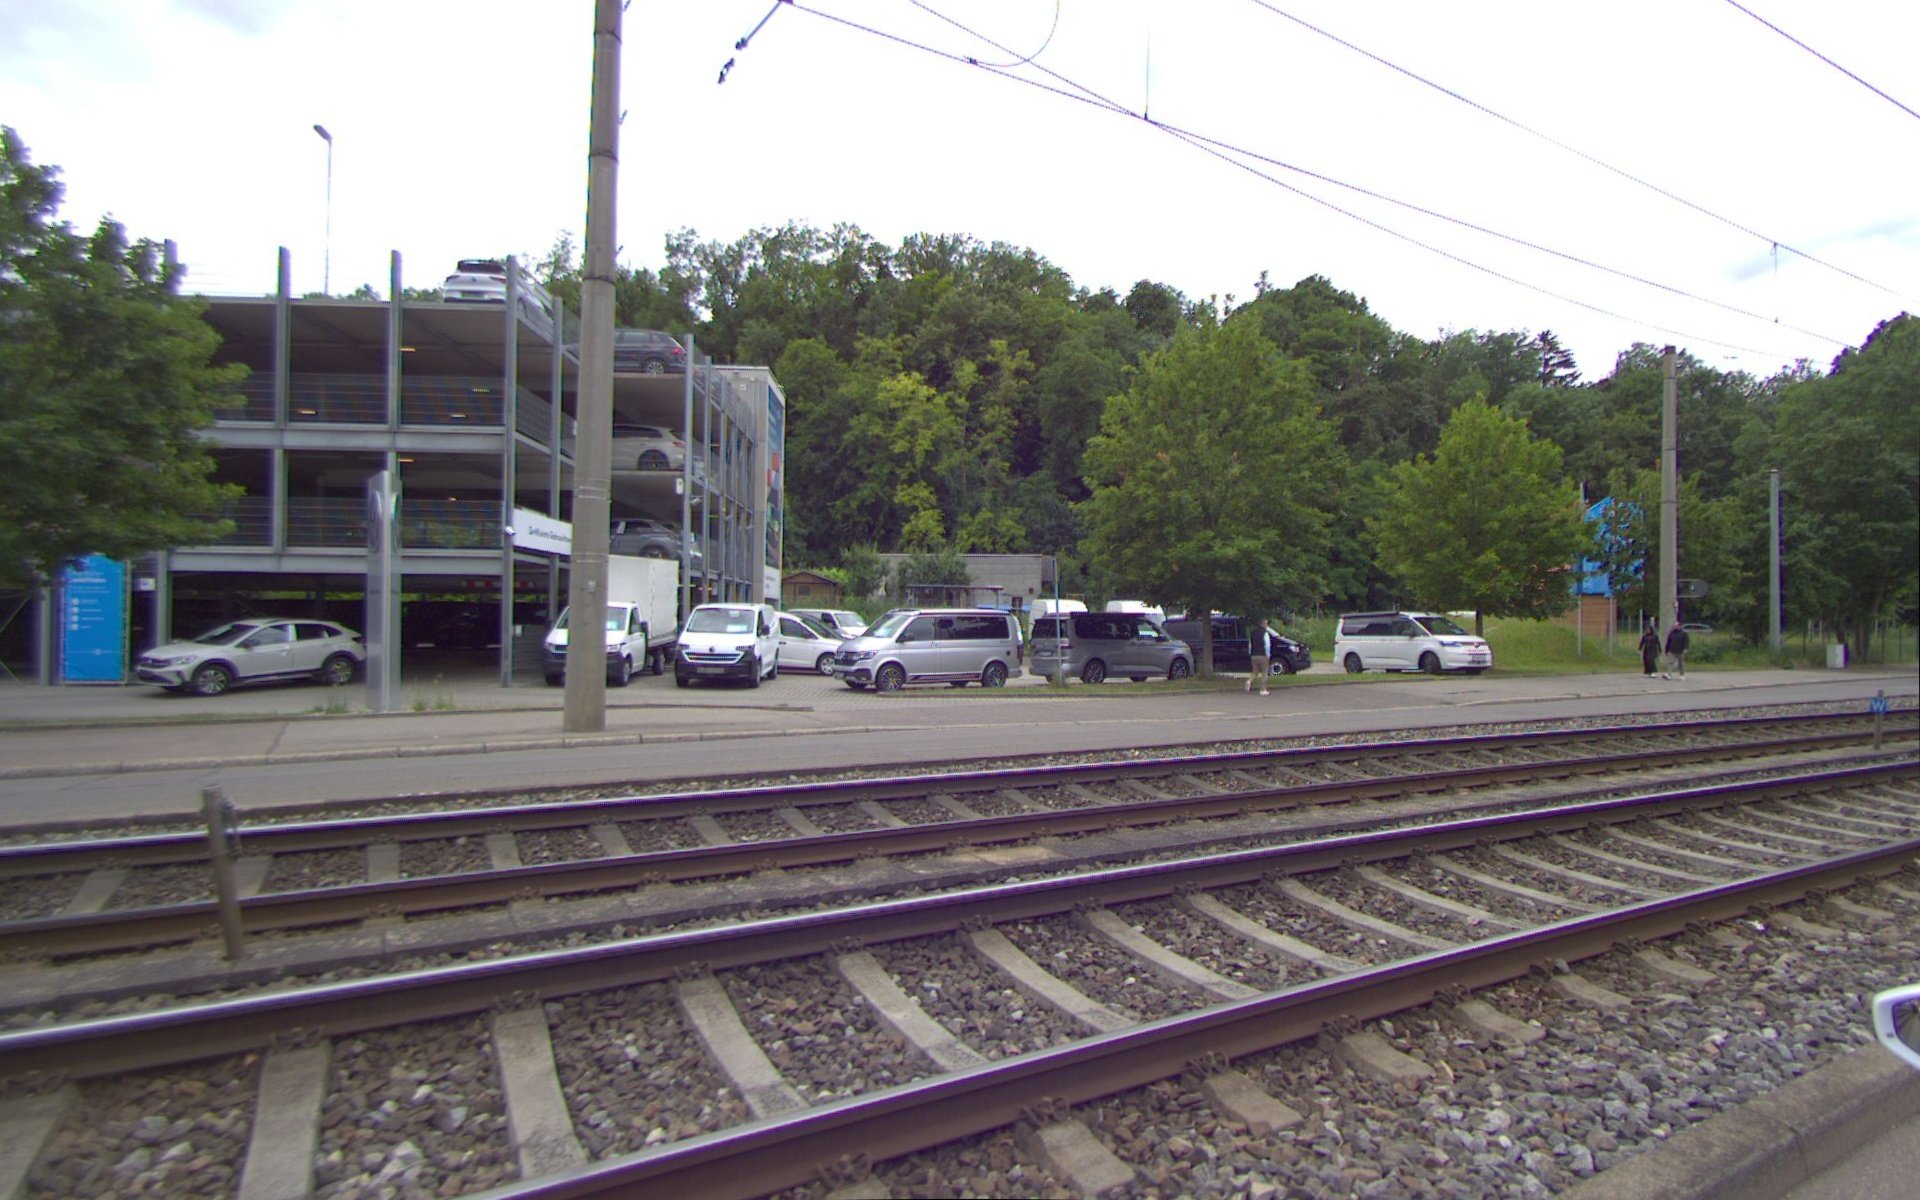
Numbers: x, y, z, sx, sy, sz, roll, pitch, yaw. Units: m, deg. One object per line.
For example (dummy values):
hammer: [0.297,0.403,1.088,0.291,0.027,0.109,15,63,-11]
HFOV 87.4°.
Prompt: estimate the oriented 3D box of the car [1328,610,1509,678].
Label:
car: [14.076,1.280,31.232,2.135,1.913,5.045,1,-1,-23]

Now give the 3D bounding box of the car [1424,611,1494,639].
car: [37.580,1.884,75.724,4.316,2.040,2.000,1,0,1]

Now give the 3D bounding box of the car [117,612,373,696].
car: [-15.448,1.084,21.966,1.963,1.639,4.131,0,-1,26]

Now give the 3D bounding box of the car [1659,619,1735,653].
car: [40.554,1.968,55.288,3.953,1.773,1.984,1,-1,-30]

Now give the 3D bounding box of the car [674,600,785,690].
car: [-5.666,1.078,25.284,1.961,2.040,4.729,0,-1,-3]

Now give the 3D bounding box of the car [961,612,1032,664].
car: [1.450,1.560,41.768,1.966,2.040,3.990,1,-1,-13]

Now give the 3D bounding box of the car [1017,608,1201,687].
car: [4.235,1.287,28.204,5.074,2.040,1.982,1,-1,-33]

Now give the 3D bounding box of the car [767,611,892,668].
car: [-4.810,1.476,37.537,4.380,2.039,2.000,0,-1,-1]

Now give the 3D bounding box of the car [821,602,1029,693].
car: [-0.816,1.129,24.894,4.866,2.040,1.982,1,-1,-33]

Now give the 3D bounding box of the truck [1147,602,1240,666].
truck: [10.019,1.436,43.545,2.422,2.622,5.068,1,-1,-6]

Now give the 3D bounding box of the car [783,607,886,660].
car: [-5.306,1.364,42.216,4.215,2.041,1.990,1,1,41]

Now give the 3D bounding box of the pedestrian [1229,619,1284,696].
pedestrian: [6.808,1.303,23.077,1.033,1.678,0.712,0,2,-38]

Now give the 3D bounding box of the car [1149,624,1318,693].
car: [8.759,1.811,32.153,4.975,2.040,2.165,0,-1,23]

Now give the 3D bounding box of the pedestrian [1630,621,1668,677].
pedestrian: [21.905,1.560,31.931,0.845,1.736,0.625,1,1,-28]

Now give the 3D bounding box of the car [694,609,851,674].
car: [-5.488,1.229,29.949,4.382,1.855,1.999,1,-1,-4]

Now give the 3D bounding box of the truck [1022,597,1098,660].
truck: [4.359,1.268,44.624,2.422,2.622,5.068,1,-1,-6]

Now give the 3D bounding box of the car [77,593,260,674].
car: [-20.334,0.830,25.821,3.922,1.929,2.000,0,-1,22]

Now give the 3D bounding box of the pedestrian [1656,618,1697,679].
pedestrian: [22.221,1.496,31.151,0.845,1.837,0.673,1,1,-28]

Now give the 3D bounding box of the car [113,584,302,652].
car: [-22.489,0.556,30.294,4.418,1.929,1.981,1,-1,-34]

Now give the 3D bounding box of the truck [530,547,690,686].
truck: [-8.681,0.430,25.603,2.078,3.126,5.938,0,-1,-1]

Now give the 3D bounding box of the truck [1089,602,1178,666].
truck: [7.500,1.459,44.228,2.422,2.622,5.774,1,-1,-6]
